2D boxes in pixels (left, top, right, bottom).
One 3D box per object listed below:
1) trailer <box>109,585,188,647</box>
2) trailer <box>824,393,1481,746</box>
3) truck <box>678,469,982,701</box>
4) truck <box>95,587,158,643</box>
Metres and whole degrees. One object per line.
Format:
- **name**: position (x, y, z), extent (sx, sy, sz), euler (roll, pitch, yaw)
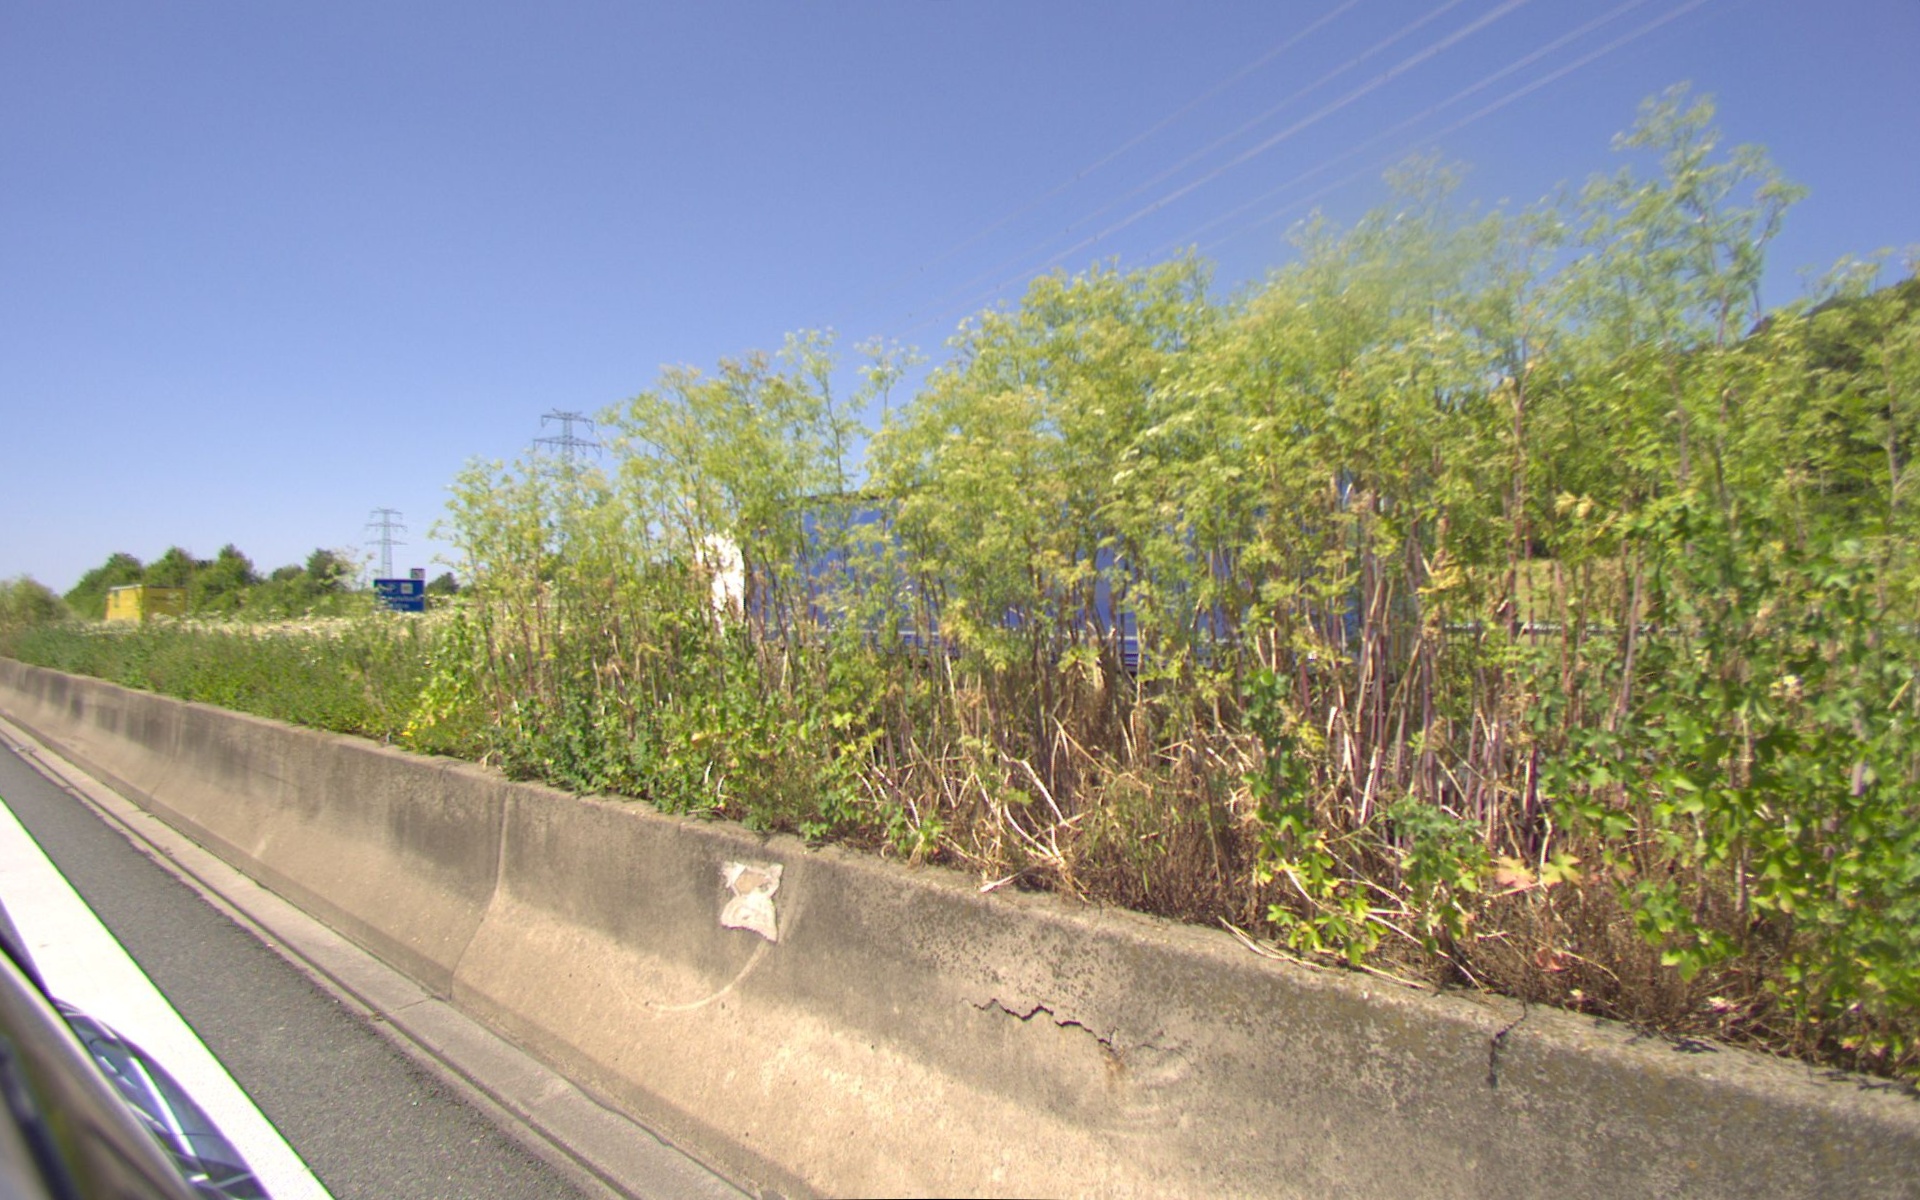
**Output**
- **trailer**: position (-59.671, 1.116, 74.310), extent (10.683, 4.238, 2.792), euler (0, 1, 42)
- **trailer**: position (2.388, -0.314, 17.063), extent (10.980, 4.260, 2.979), euler (-1, -1, 43)
- **truck**: position (-3.001, -0.242, 21.998), extent (6.685, 4.260, 2.979), euler (-1, -1, 43)
- **truck**: position (-65.934, 1.125, 80.007), extent (7.324, 4.268, 2.748), euler (0, 1, 42)
